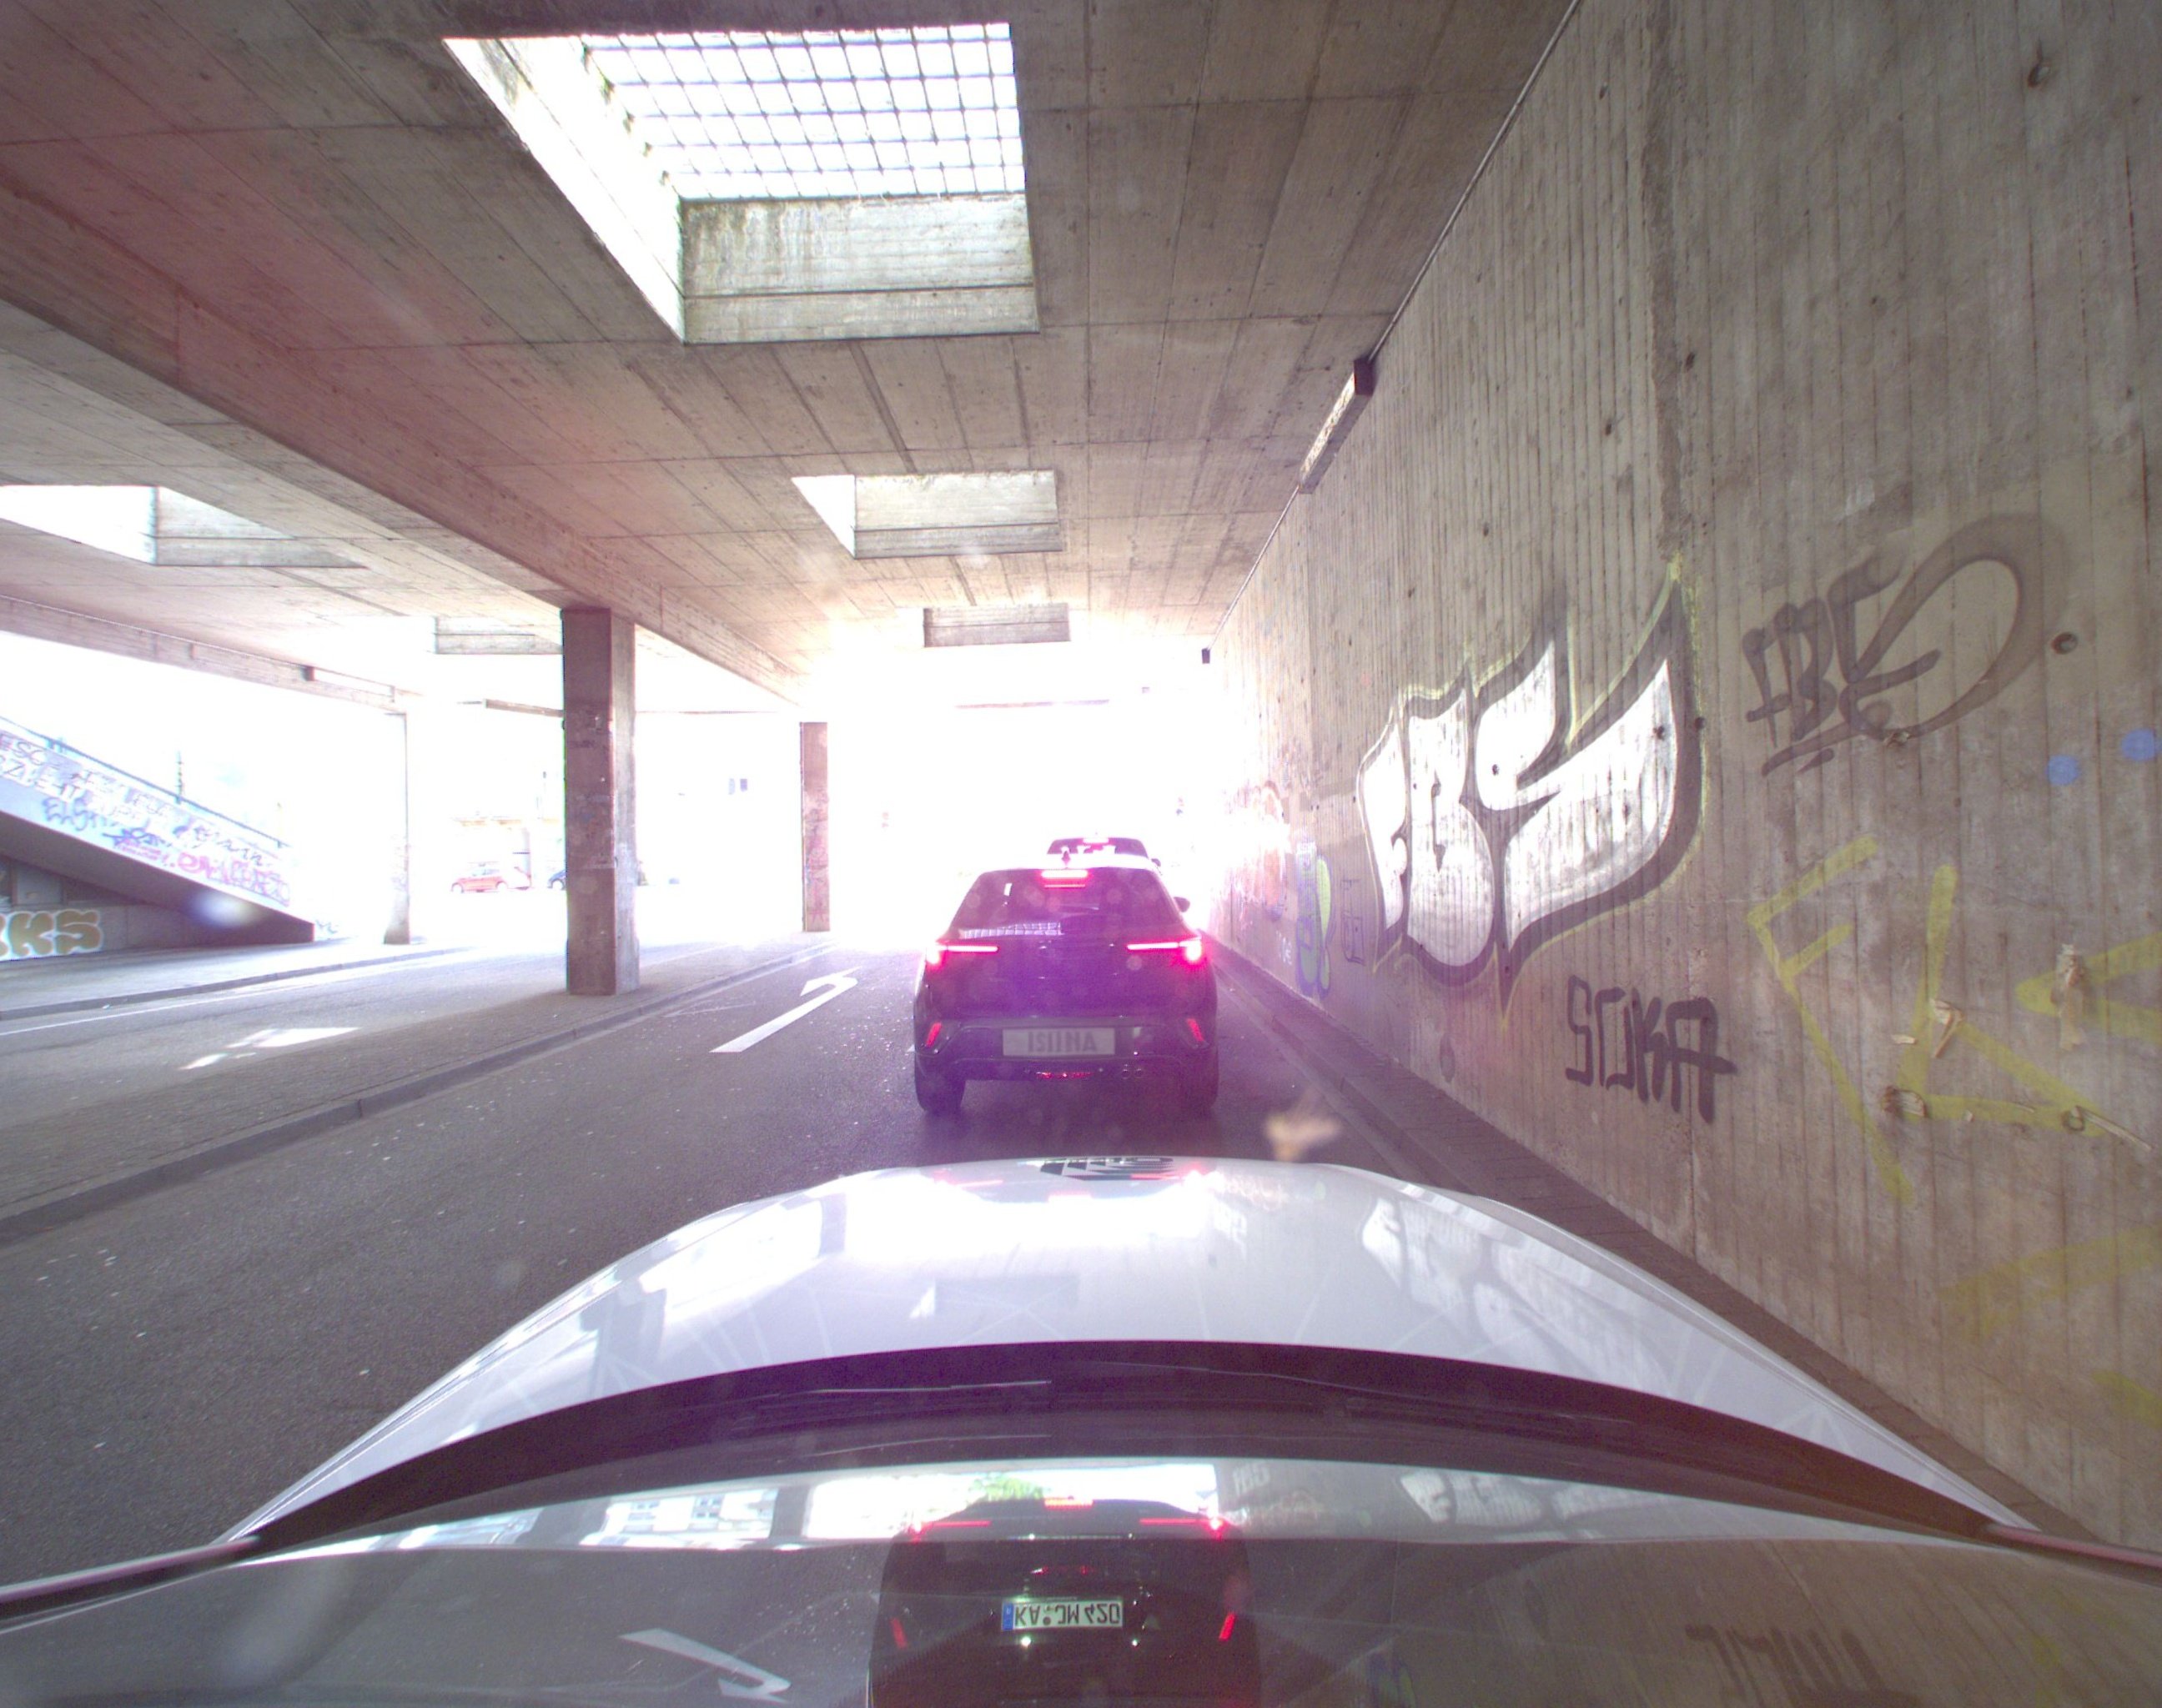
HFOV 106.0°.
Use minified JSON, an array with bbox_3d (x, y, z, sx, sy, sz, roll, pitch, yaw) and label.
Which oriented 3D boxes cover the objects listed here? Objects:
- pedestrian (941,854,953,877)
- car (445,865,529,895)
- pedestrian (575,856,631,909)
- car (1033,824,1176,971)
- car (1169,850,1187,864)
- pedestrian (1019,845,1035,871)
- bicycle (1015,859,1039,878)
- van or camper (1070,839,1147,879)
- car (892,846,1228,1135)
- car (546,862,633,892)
[{"bbox_3d":[-10.166,0.868,61.716,0.618,1.705,0.726,0,-1,17],"label":"pedestrian"},{"bbox_3d":[-32.847,1.437,45.082,3.519,1.506,1.563,-1,0,2],"label":"car"},{"bbox_3d":[-16.045,0.949,27.351,1.103,1.737,1.146,-1,0,15],"label":"pedestrian"},{"bbox_3d":[0.367,0.549,12.213,1.779,1.833,3.962,-1,0,2],"label":"car"},{"bbox_3d":[10.743,0.321,90.213,1.588,1.452,3.807,-1,0,11],"label":"car"},{"bbox_3d":[-3.399,0.262,51.636,0.729,1.585,0.894,0,-1,18],"label":"pedestrian"},{"bbox_3d":[-3.415,0.897,51.548,0.730,1.130,2.036,-2,0,19],"label":"bicycle"},{"bbox_3d":[1.504,0.280,43.659,3.854,2.013,2.005,-2,0,9],"label":"van or camper"},{"bbox_3d":[-0.037,0.711,6.254,1.746,1.498,4.002,0,0,2],"label":"car"},{"bbox_3d":[-27.278,1.285,45.259,3.742,1.508,1.752,-2,0,0],"label":"car"}]
